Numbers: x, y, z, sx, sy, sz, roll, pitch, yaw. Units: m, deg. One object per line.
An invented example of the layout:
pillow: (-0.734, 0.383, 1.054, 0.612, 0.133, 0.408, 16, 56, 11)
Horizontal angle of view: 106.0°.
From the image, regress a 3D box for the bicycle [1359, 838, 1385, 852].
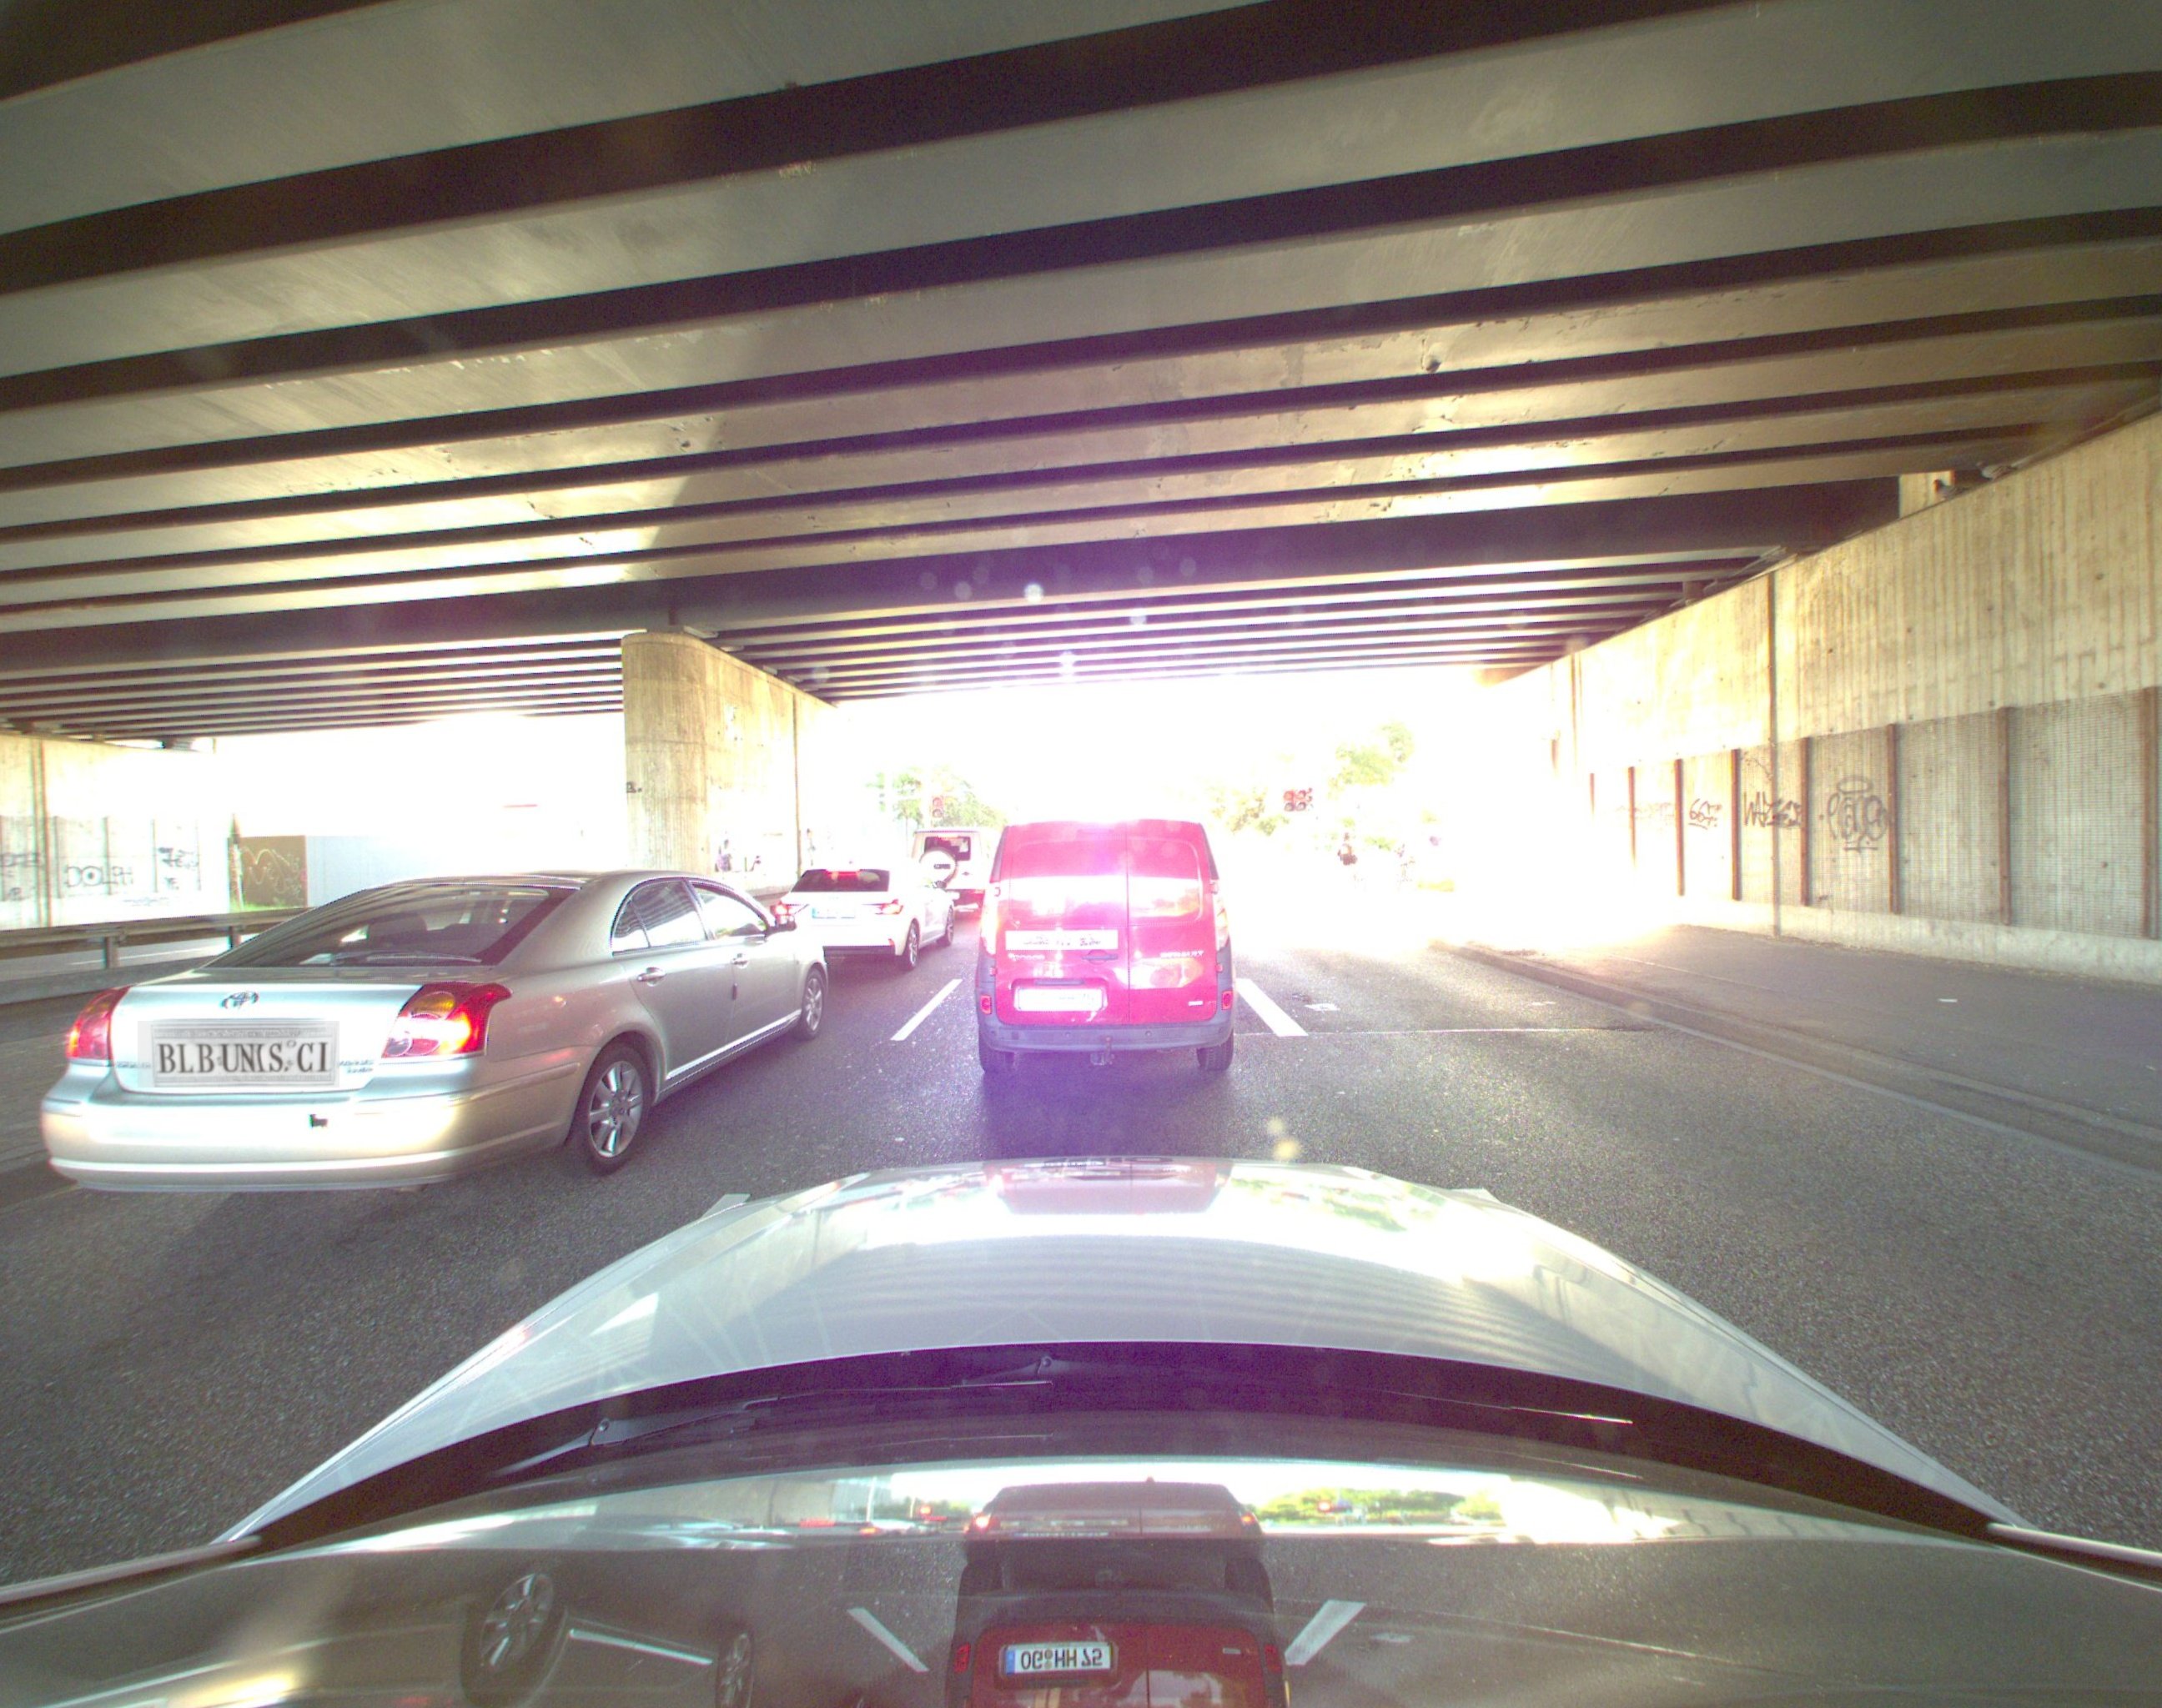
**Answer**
bicycle: (21.287, -0.636, 59.598, 1.733, 1.023, 0.596, -1, -1, 13)

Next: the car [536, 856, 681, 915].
car: (-14.592, 0.907, 25.469, 1.817, 1.587, 4.187, -2, 1, 4)

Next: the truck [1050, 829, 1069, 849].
truck: (-3.533, -2.392, 133.609, 2.399, 3.026, 6.661, -4, 0, 3)

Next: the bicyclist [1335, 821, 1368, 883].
bicyclist: (7.233, -0.040, 21.783, 0.589, 1.613, 0.943, 0, -1, 2)

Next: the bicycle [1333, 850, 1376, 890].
bicycle: (7.247, 0.421, 21.642, 0.589, 1.023, 1.751, 0, -1, 2)

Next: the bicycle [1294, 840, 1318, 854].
bicycle: (17.185, -0.506, 62.143, 1.734, 1.023, 0.595, -1, -1, 10)

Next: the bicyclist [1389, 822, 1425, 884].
bicyclist: (8.245, -0.028, 20.610, 0.589, 1.548, 0.769, 0, -1, 1)

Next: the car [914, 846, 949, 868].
car: (-13.199, 0.251, 72.120, 1.817, 1.737, 4.634, -4, 0, 4)

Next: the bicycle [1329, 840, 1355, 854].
bicycle: (19.421, -0.535, 60.626, 1.734, 1.023, 0.595, -1, -1, 10)

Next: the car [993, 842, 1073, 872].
car: (-2.493, 0.132, 42.026, 3.764, 1.448, 1.681, -1, 0, -25)

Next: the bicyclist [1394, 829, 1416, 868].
bicyclist: (12.290, -0.209, 30.889, 0.660, 1.474, 0.753, -1, -1, 12)

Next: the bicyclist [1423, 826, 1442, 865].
bicyclist: (13.835, -0.334, 32.066, 0.644, 1.480, 0.621, -1, 1, 19)

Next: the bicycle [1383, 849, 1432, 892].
bicycle: (8.242, 0.405, 20.614, 0.589, 1.023, 1.751, 0, -1, 2)

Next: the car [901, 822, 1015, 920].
car: (-2.712, 0.367, 19.010, 1.794, 1.989, 4.591, 0, -1, 2)

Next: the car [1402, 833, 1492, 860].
car: (21.571, -0.415, 48.168, 4.521, 1.514, 1.832, 0, -1, 8)

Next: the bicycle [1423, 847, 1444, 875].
bicycle: (13.857, 0.274, 32.048, 0.662, 1.023, 1.759, -1, 2, 20)

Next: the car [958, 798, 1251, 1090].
car: (0.204, 0.574, 7.037, 1.798, 1.794, 4.001, 0, -1, 2)

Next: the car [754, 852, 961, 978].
car: (-2.950, 0.720, 11.597, 1.807, 1.438, 3.732, -1, 1, 1)

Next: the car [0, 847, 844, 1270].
car: (-3.007, 0.735, 5.092, 1.727, 1.480, 4.319, -1, 0, 0)

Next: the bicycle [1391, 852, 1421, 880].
bicycle: (12.289, 0.441, 30.846, 0.667, 1.023, 2.062, -1, -1, 12)
